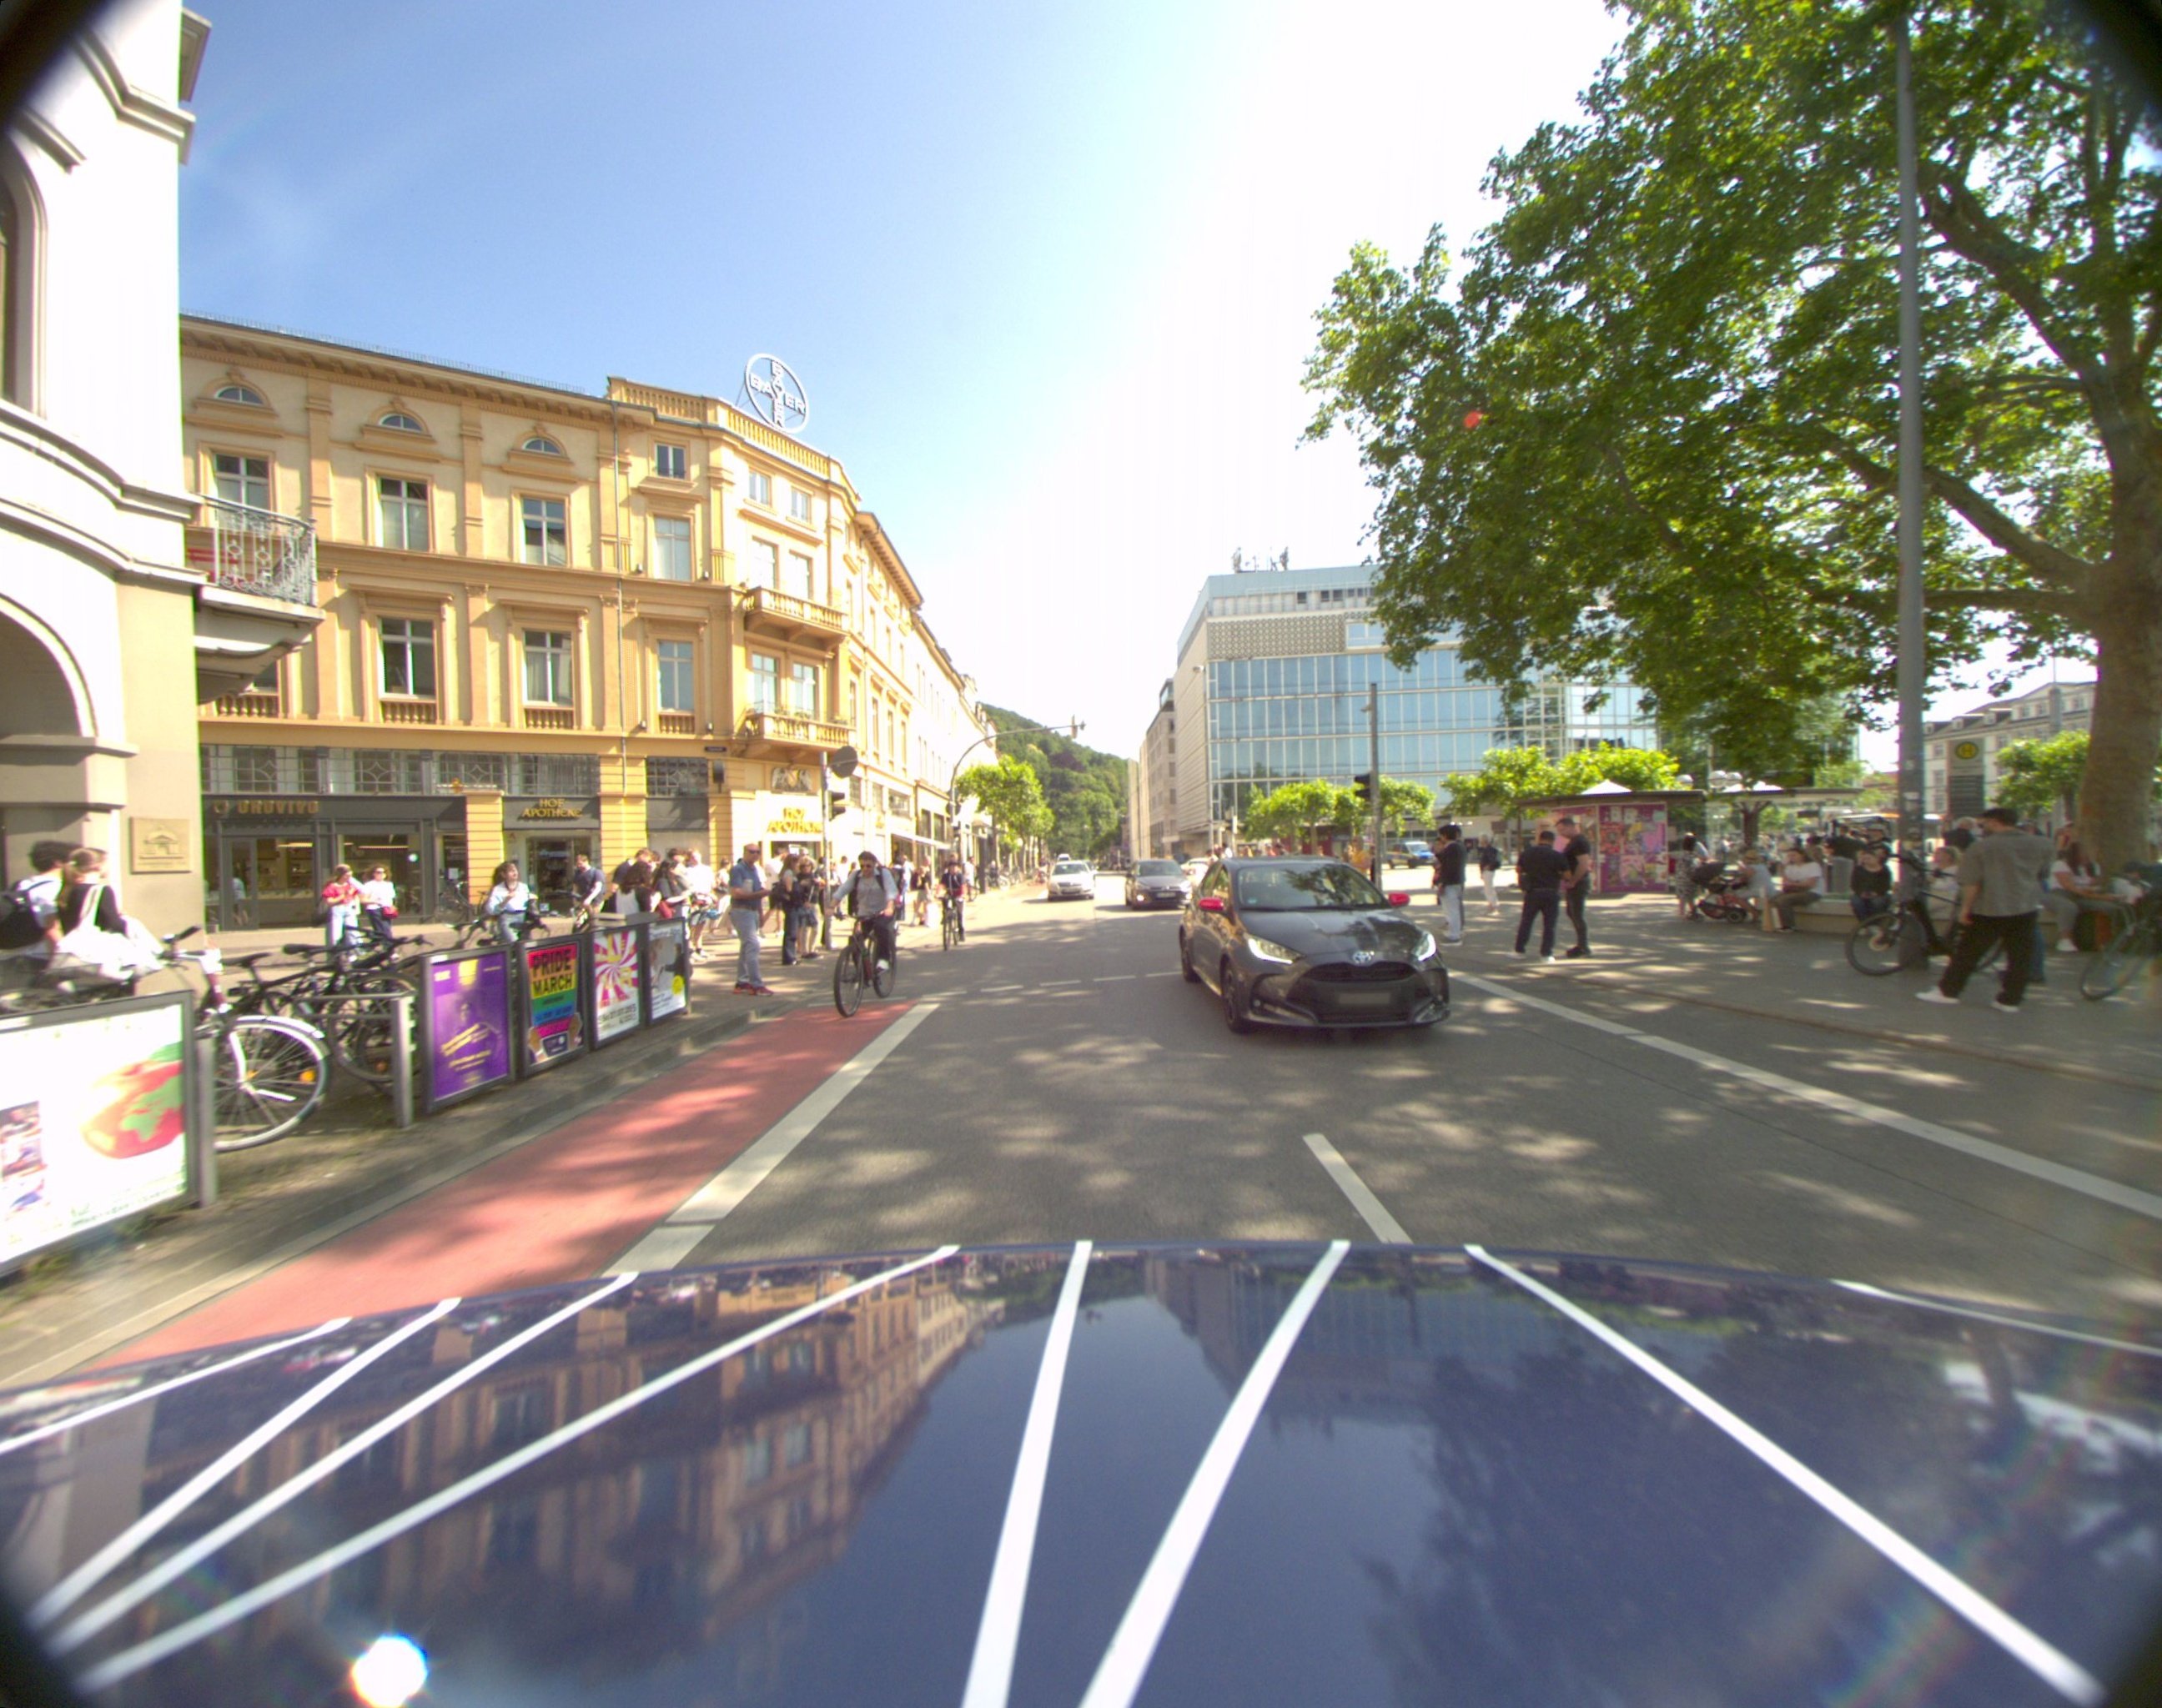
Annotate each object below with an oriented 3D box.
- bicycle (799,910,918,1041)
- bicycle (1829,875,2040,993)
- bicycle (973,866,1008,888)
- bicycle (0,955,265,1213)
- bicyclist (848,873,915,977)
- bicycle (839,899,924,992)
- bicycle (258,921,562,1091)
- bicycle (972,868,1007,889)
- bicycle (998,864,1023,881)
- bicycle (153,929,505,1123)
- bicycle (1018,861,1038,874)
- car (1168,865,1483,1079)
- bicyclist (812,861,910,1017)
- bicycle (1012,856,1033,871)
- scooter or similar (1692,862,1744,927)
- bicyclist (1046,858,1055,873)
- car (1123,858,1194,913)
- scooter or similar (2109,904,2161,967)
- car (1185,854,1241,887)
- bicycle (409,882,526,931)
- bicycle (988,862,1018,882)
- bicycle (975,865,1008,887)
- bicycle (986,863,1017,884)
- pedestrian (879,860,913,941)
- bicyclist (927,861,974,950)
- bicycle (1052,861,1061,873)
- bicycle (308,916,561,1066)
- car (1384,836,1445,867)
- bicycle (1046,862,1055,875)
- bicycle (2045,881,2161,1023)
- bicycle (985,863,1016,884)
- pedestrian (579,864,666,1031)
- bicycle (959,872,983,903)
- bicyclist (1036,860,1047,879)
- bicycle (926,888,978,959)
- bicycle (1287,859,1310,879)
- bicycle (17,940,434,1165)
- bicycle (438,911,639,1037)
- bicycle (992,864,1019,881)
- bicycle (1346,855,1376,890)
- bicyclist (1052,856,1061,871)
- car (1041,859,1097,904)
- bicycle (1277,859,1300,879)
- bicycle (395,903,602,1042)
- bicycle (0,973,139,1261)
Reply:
[{"bbox_3d":[-2.365,1.250,8.324,0.736,1.086,1.897,-3,1,-2],"label":"bicycle"},{"bbox_3d":[9.041,0.826,8.075,1.757,1.140,0.483,-2,1,-3],"label":"bicycle"},{"bbox_3d":[-4.901,1.240,41.185,1.757,1.140,0.592,-2,1,-3],"label":"bicycle"},{"bbox_3d":[-5.527,1.178,3.977,1.757,1.151,0.592,-2,1,-3],"label":"bicycle"},{"bbox_3d":[-2.855,0.999,10.945,0.690,1.388,0.778,-3,1,-2],"label":"bicyclist"},{"bbox_3d":[-2.824,1.264,10.954,0.736,1.086,1.819,-3,0,-2],"label":"bicycle"},{"bbox_3d":[-5.189,1.157,5.954,1.757,1.140,0.592,-2,1,-3],"label":"bicycle"},{"bbox_3d":[-4.810,1.297,40.072,1.757,1.029,0.592,-2,1,-3],"label":"bicycle"},{"bbox_3d":[-5.015,1.309,54.026,1.757,1.140,0.592,-2,1,-3],"label":"bicycle"},{"bbox_3d":[-5.152,1.157,5.285,1.757,1.140,0.592,-2,1,-3],"label":"bicycle"},{"bbox_3d":[-4.861,1.257,69.815,1.757,1.140,0.592,-2,1,-3],"label":"bicycle"},{"bbox_3d":[2.014,0.885,7.529,1.782,1.466,3.999,0,0,-1],"label":"car"},{"bbox_3d":[-2.359,0.884,8.242,0.750,1.567,0.778,-3,1,-2],"label":"bicyclist"},{"bbox_3d":[-4.888,0.780,63.603,1.757,1.140,0.592,-2,1,-3],"label":"bicycle"},{"bbox_3d":[11.416,0.720,13.626,0.567,1.113,0.539,-3,1,27],"label":"scooter or similar"},{"bbox_3d":[-2.765,1.028,68.795,0.726,1.271,0.715,-3,1,0],"label":"bicyclist"},{"bbox_3d":[2.215,0.864,22.676,1.699,1.397,4.000,-2,0,0],"label":"car"},{"bbox_3d":[12.616,0.934,8.800,0.579,0.643,0.787,-3,1,32],"label":"scooter or similar"},{"bbox_3d":[9.155,1.130,52.440,1.995,2.002,4.007,-3,1,40],"label":"car"},{"bbox_3d":[-17.536,1.482,21.806,2.421,1.145,0.780,-4,1,-24],"label":"bicycle"},{"bbox_3d":[-4.818,1.099,46.801,1.757,1.140,0.592,-2,1,-3],"label":"bicycle"},{"bbox_3d":[-4.957,1.213,42.017,1.757,1.140,0.592,-2,1,-3],"label":"bicycle"},{"bbox_3d":[-4.758,1.166,45.365,1.757,1.140,0.592,-2,1,-3],"label":"bicycle"},{"bbox_3d":[-3.968,0.981,16.263,0.579,1.674,0.726,1,-1,-23],"label":"pedestrian"},{"bbox_3d":[-2.405,0.935,14.096,0.690,1.567,0.778,-3,1,-4],"label":"bicyclist"},{"bbox_3d":[-2.375,1.253,74.018,0.736,1.086,1.897,-3,1,0],"label":"bicycle"},{"bbox_3d":[-5.555,1.164,6.591,1.660,1.140,0.522,-2,1,-3],"label":"bicycle"},{"bbox_3d":[23.175,-0.180,52.955,2.000,2.002,3.997,-4,0,-7],"label":"car"},{"bbox_3d":[-2.760,1.308,68.760,0.736,1.086,1.897,-3,1,0],"label":"bicycle"},{"bbox_3d":[9.615,0.824,6.672,1.757,1.140,0.483,-2,1,-3],"label":"bicycle"},{"bbox_3d":[-4.726,1.129,44.640,1.757,1.140,0.592,-2,1,-3],"label":"bicycle"},{"bbox_3d":[-4.928,0.971,8.170,0.579,1.675,0.620,-4,1,-44],"label":"pedestrian"},{"bbox_3d":[-4.360,1.310,30.017,0.737,1.086,1.895,1,0,-14],"label":"bicycle"},{"bbox_3d":[-2.876,1.121,55.468,0.736,1.344,0.736,-3,1,0],"label":"bicyclist"},{"bbox_3d":[-2.361,1.245,14.074,0.667,1.086,1.897,-3,1,-3],"label":"bicycle"},{"bbox_3d":[12.759,0.866,44.691,0.592,1.140,1.757,-2,0,-8],"label":"bicycle"},{"bbox_3d":[-5.119,1.160,4.629,1.757,1.140,0.592,-2,1,-3],"label":"bicycle"},{"bbox_3d":[-5.410,1.186,7.626,1.633,1.140,0.425,-2,1,-3],"label":"bicycle"},{"bbox_3d":[-5.134,1.262,51.795,1.757,1.140,0.592,-2,1,-3],"label":"bicycle"},{"bbox_3d":[9.946,0.649,27.058,0.729,1.137,1.914,-1,1,13],"label":"bicycle"},{"bbox_3d":[-2.385,0.902,74.105,0.736,1.376,0.734,-3,1,0],"label":"bicyclist"},{"bbox_3d":[-0.415,0.989,28.941,1.918,1.401,4.000,-3,0,0],"label":"car"},{"bbox_3d":[12.168,0.863,44.614,0.592,1.140,1.757,-2,0,-8],"label":"bicycle"},{"bbox_3d":[-5.454,1.096,7.162,1.533,1.190,0.425,-2,1,-3],"label":"bicycle"},{"bbox_3d":[-5.475,1.178,3.360,1.757,1.140,0.592,-2,1,-3],"label":"bicycle"}]
